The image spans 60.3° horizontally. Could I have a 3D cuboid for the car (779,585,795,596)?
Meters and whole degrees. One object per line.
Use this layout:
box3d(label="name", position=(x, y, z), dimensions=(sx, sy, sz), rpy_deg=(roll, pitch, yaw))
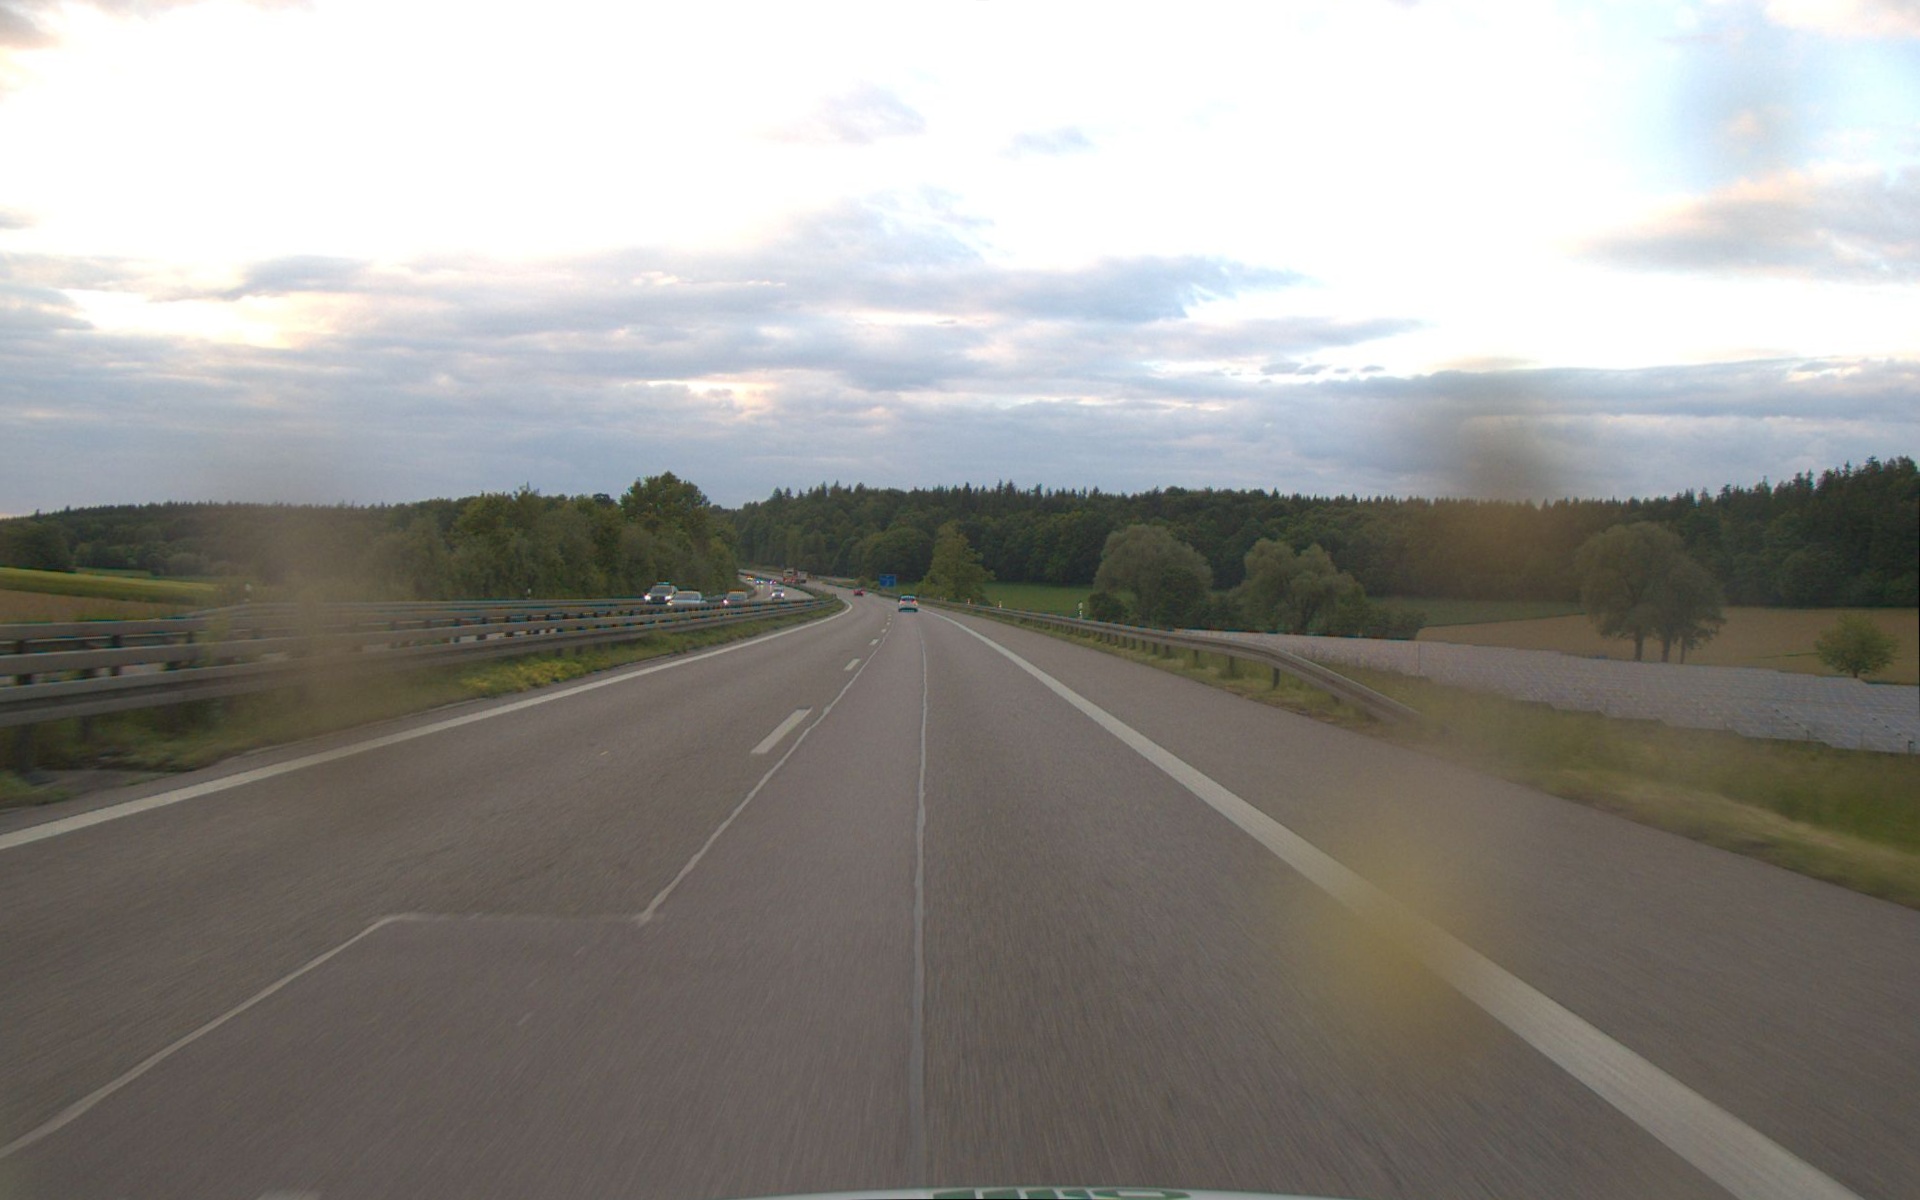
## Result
box3d(label="car", position=(-26.738, -1.470, 255.865), dimensions=(1.953, 1.655, 5.734), rpy_deg=(3, 1, -2))

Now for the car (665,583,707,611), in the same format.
box3d(label="car", position=(-15.047, -0.201, 91.057), dimensions=(1.535, 1.389, 4.619), rpy_deg=(3, 1, -1))

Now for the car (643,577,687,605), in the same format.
box3d(label="car", position=(-19.473, -0.587, 109.342), dimensions=(1.848, 1.723, 5.767), rpy_deg=(3, 0, -1))

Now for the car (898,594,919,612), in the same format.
box3d(label="car", position=(-4.943, 0.301, 157.613), dimensions=(1.913, 1.558, 4.078), rpy_deg=(3, 1, -3))

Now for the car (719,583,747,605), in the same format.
box3d(label="car", position=(-16.406, -0.444, 119.561), dimensions=(1.627, 1.465, 4.127), rpy_deg=(3, 1, -4))
